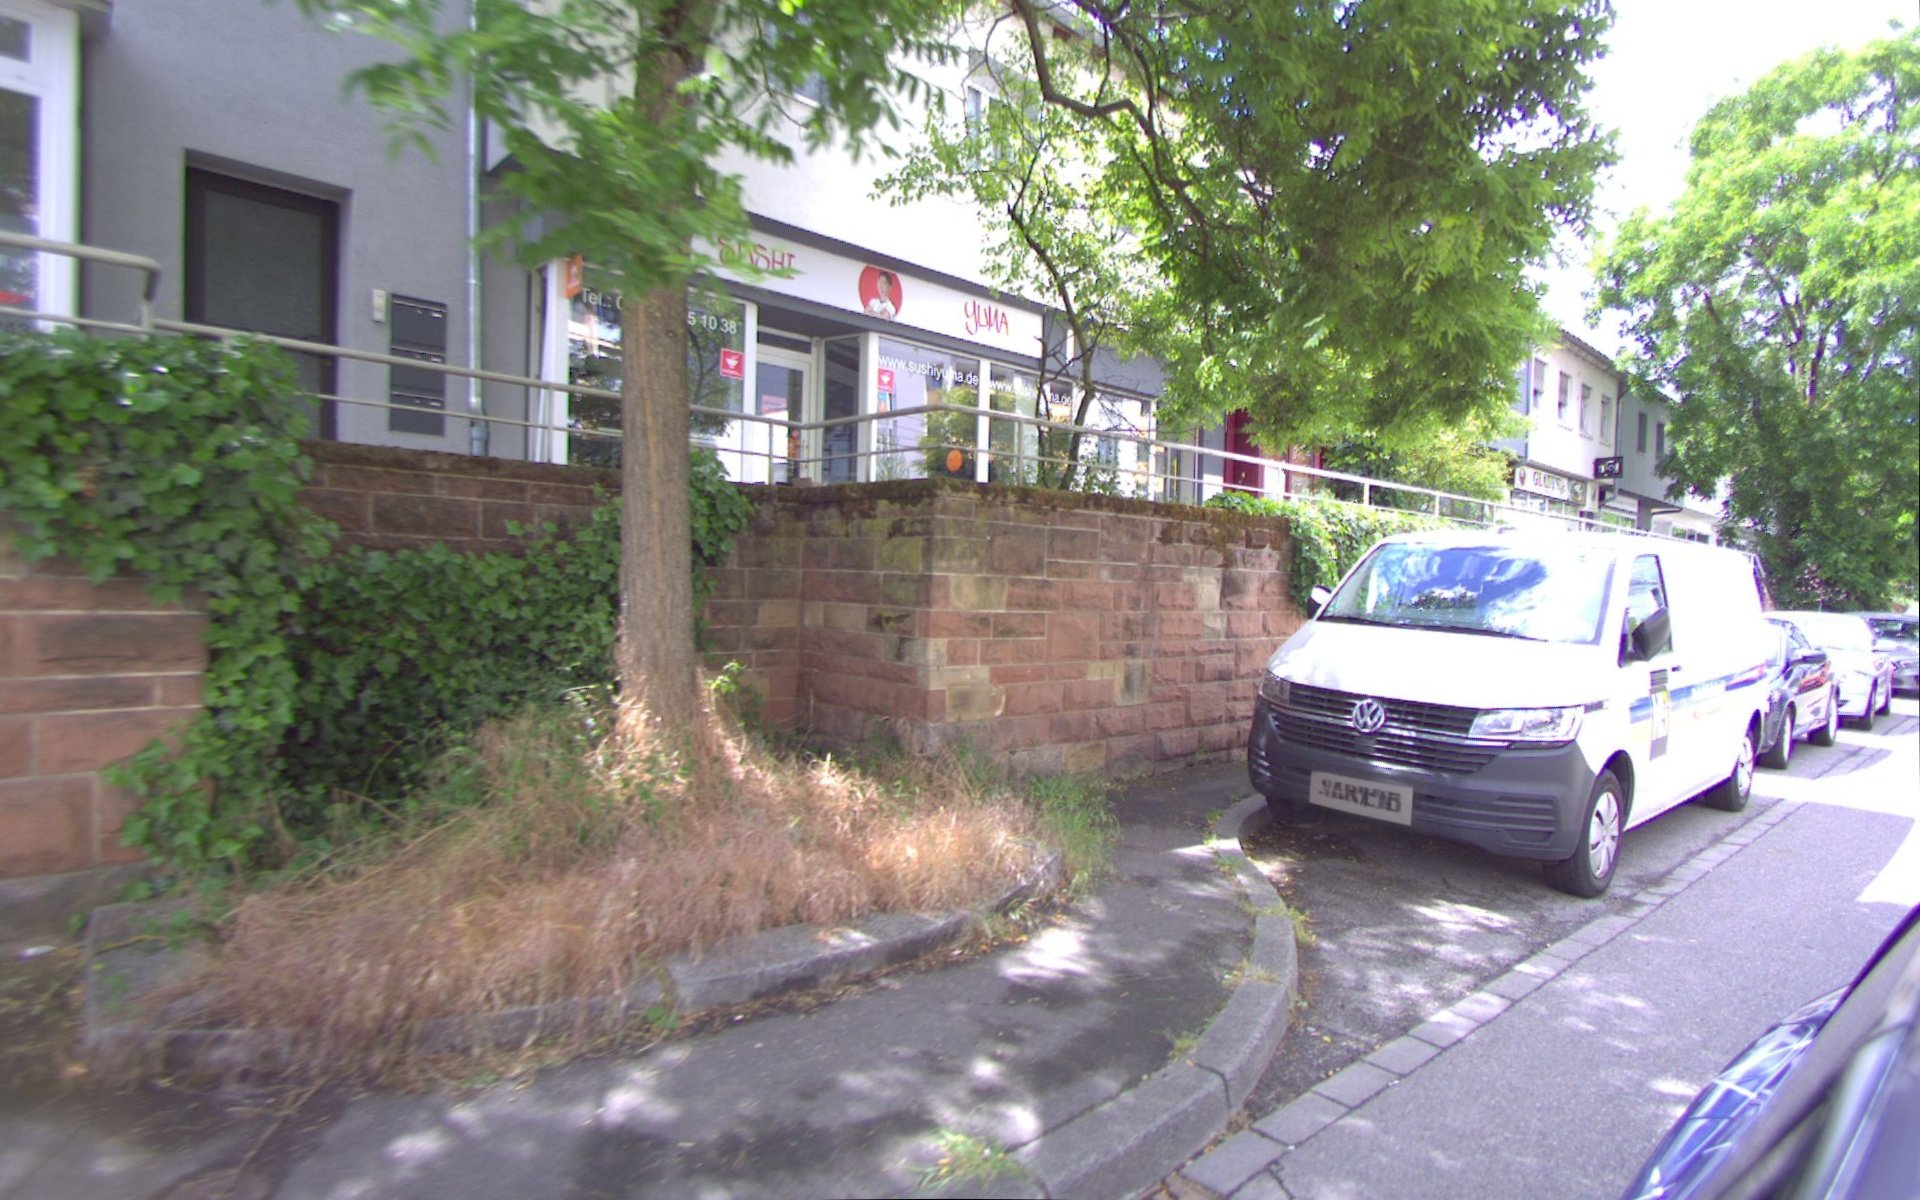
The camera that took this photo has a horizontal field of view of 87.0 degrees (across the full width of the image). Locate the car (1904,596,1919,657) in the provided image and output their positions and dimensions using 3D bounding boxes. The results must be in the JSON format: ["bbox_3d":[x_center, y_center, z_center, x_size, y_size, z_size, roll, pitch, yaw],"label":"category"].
[{"bbox_3d":[28.277,0.756,28.764,4.077,1.674,1.817,0,1,-43],"label":"car"}]

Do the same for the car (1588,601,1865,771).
[{"bbox_3d":[8.146,0.761,10.650,3.669,1.446,1.577,1,1,-41],"label":"car"}]

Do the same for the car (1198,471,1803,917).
[{"bbox_3d":[3.936,0.410,6.890,4.925,1.995,1.977,1,1,-41],"label":"car"}]

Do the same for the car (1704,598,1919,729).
[{"bbox_3d":[11.975,0.760,14.141,4.075,1.445,1.783,0,4,-43],"label":"car"}]

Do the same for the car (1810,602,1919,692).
[{"bbox_3d":[17.192,0.800,18.593,4.074,1.446,1.784,1,1,-41],"label":"car"}]
